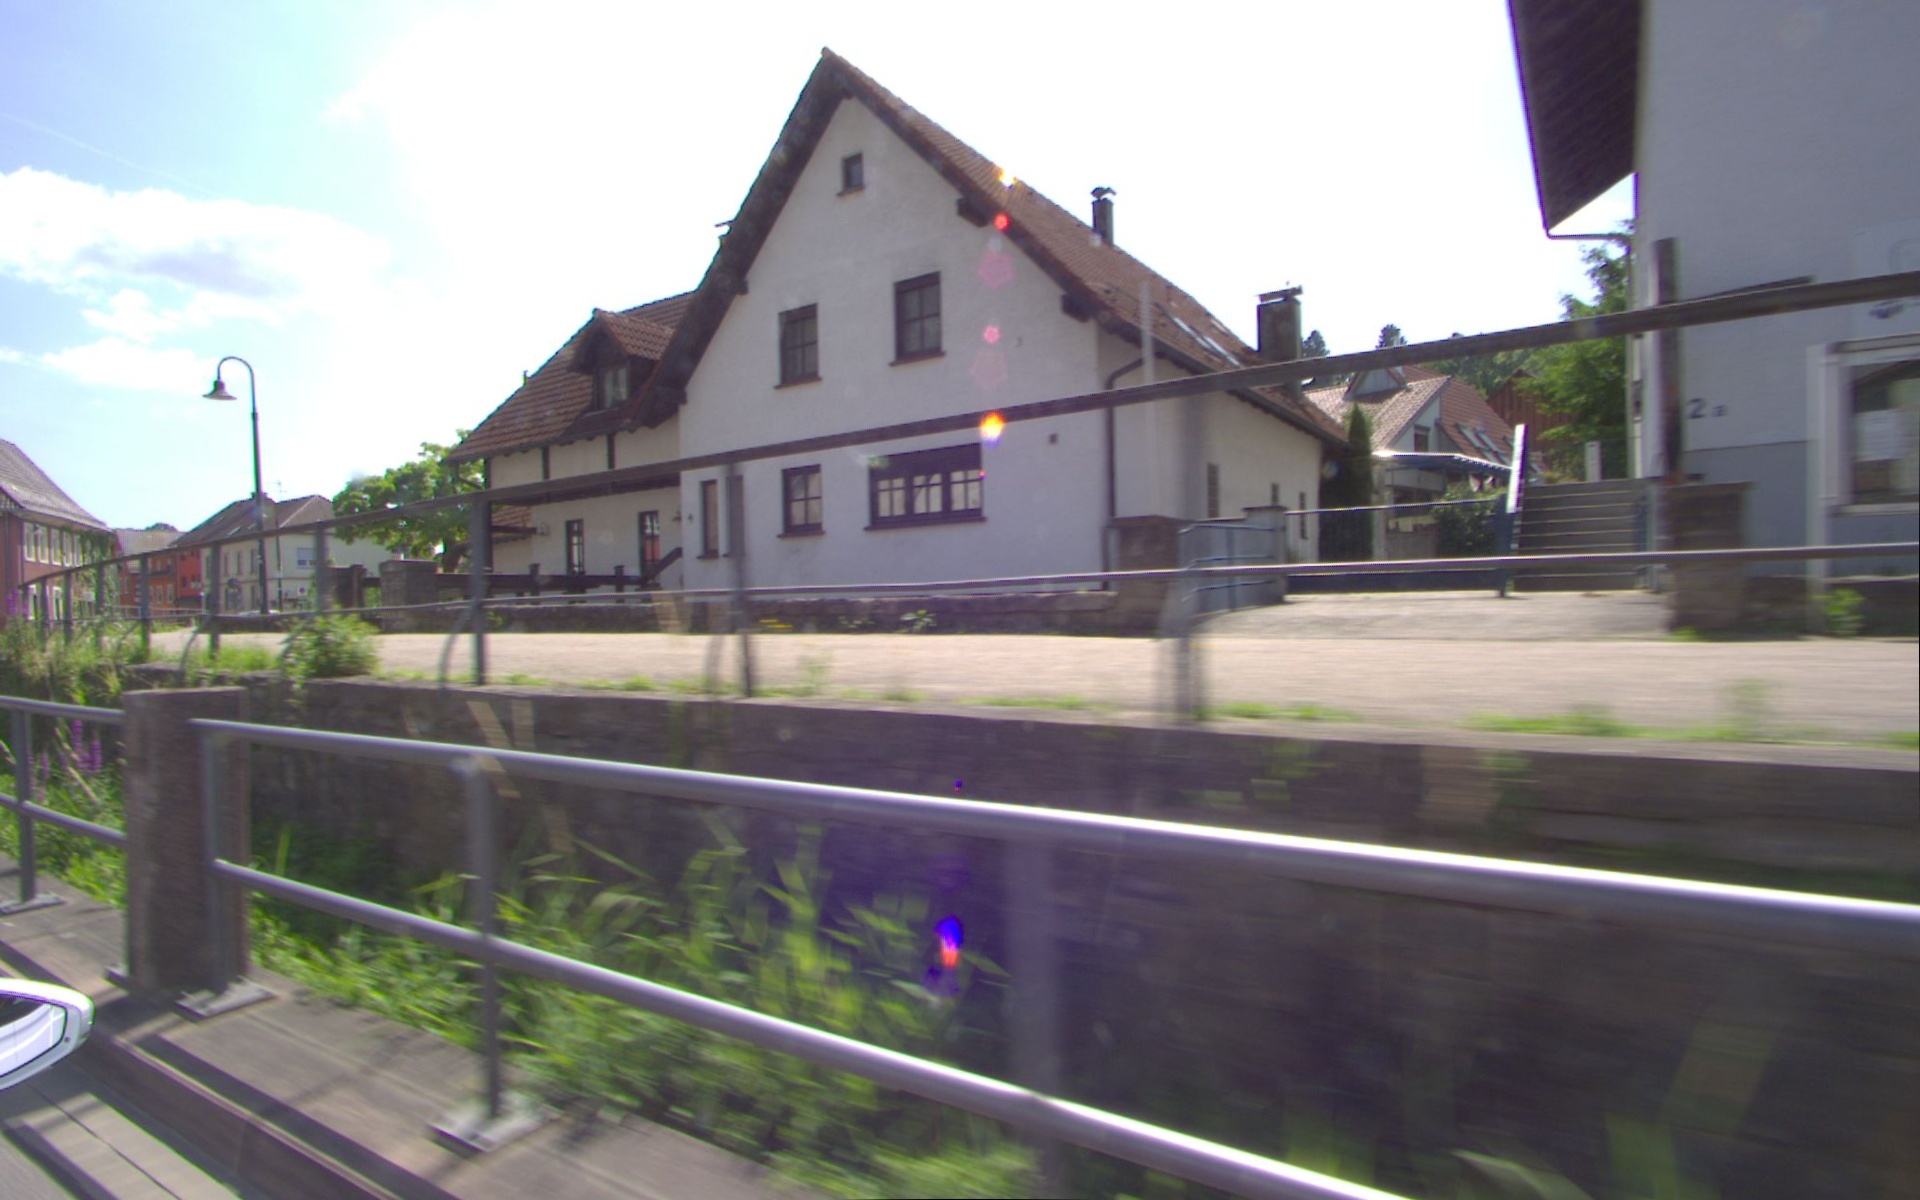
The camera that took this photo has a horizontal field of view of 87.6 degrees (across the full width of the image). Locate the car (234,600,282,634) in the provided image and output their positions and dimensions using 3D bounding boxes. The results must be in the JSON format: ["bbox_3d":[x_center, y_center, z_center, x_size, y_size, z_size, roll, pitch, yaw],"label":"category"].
[{"bbox_3d":[-45.305,1.069,64.689,1.873,2.007,3.102,-3,1,-24],"label":"car"}]

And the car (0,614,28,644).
[{"bbox_3d":[-49.336,1.397,50.137,3.525,1.424,1.644,4,-2,-28],"label":"car"}]
